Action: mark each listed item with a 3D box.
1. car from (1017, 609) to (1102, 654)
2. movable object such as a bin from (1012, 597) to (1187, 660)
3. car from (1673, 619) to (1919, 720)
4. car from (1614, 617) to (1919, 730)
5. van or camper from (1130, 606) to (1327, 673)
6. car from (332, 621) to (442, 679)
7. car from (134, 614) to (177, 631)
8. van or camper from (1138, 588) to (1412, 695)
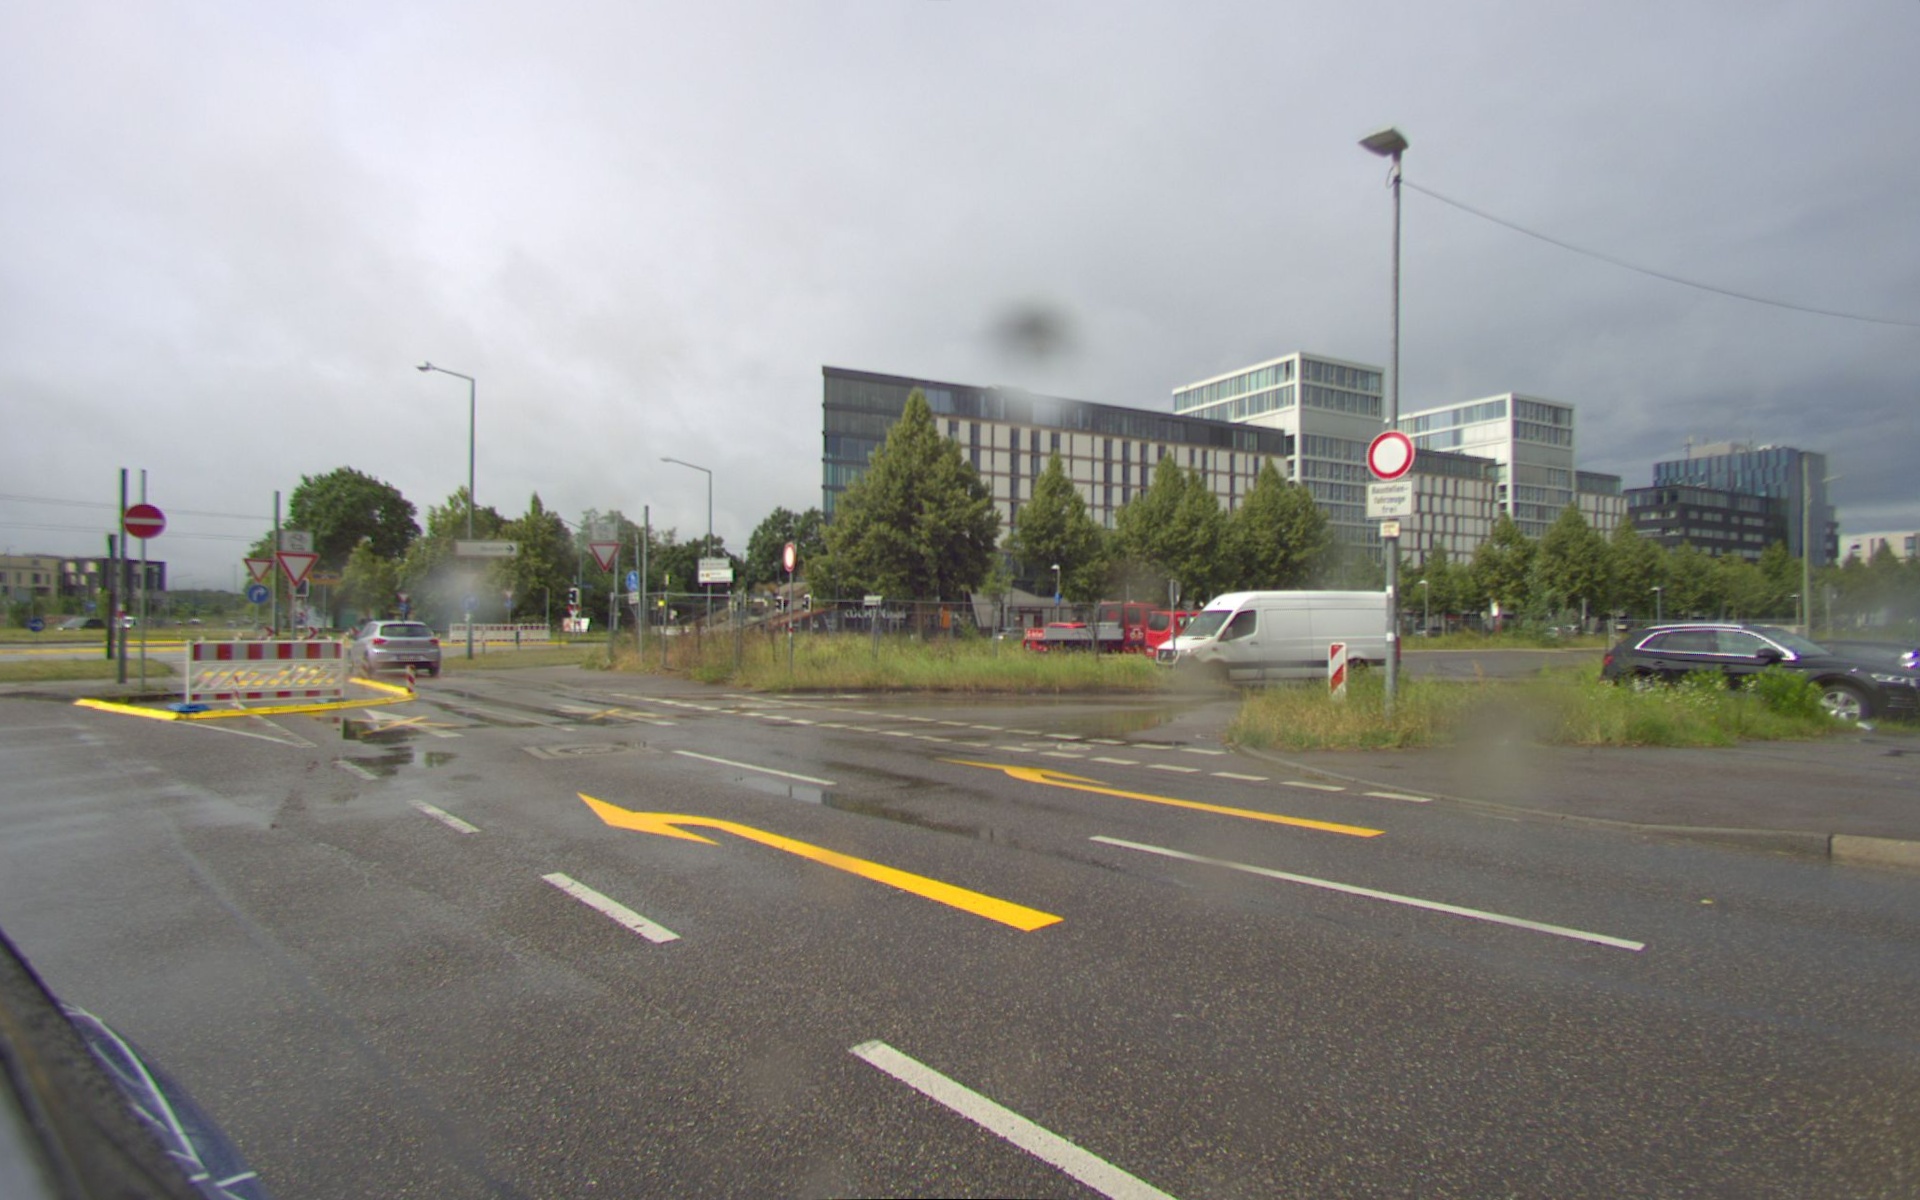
[{"bbox_3d":[4.608,1.469,47.474,1.966,2.029,4.012,1,-2,-31],"label":"car"},{"bbox_3d":[5.664,1.155,41.246,6.501,2.405,2.684,1,-2,-18],"label":"movable object such as a bin"},{"bbox_3d":[15.420,1.154,17.878,1.731,1.630,4.268,1,-2,-37],"label":"car"},{"bbox_3d":[13.427,1.104,16.467,1.731,1.630,4.336,1,-2,-37],"label":"car"},{"bbox_3d":[9.329,1.342,35.269,6.289,2.205,2.447,1,-2,-17],"label":"van or camper"},{"bbox_3d":[-15.520,1.294,27.313,1.717,1.425,4.185,1,-1,-42],"label":"car"},{"bbox_3d":[-75.551,2.158,95.116,1.642,1.542,3.487,0,-2,-9],"label":"car"},{"bbox_3d":[8.532,1.092,27.525,6.863,2.667,2.519,1,-2,-17],"label":"van or camper"}]
